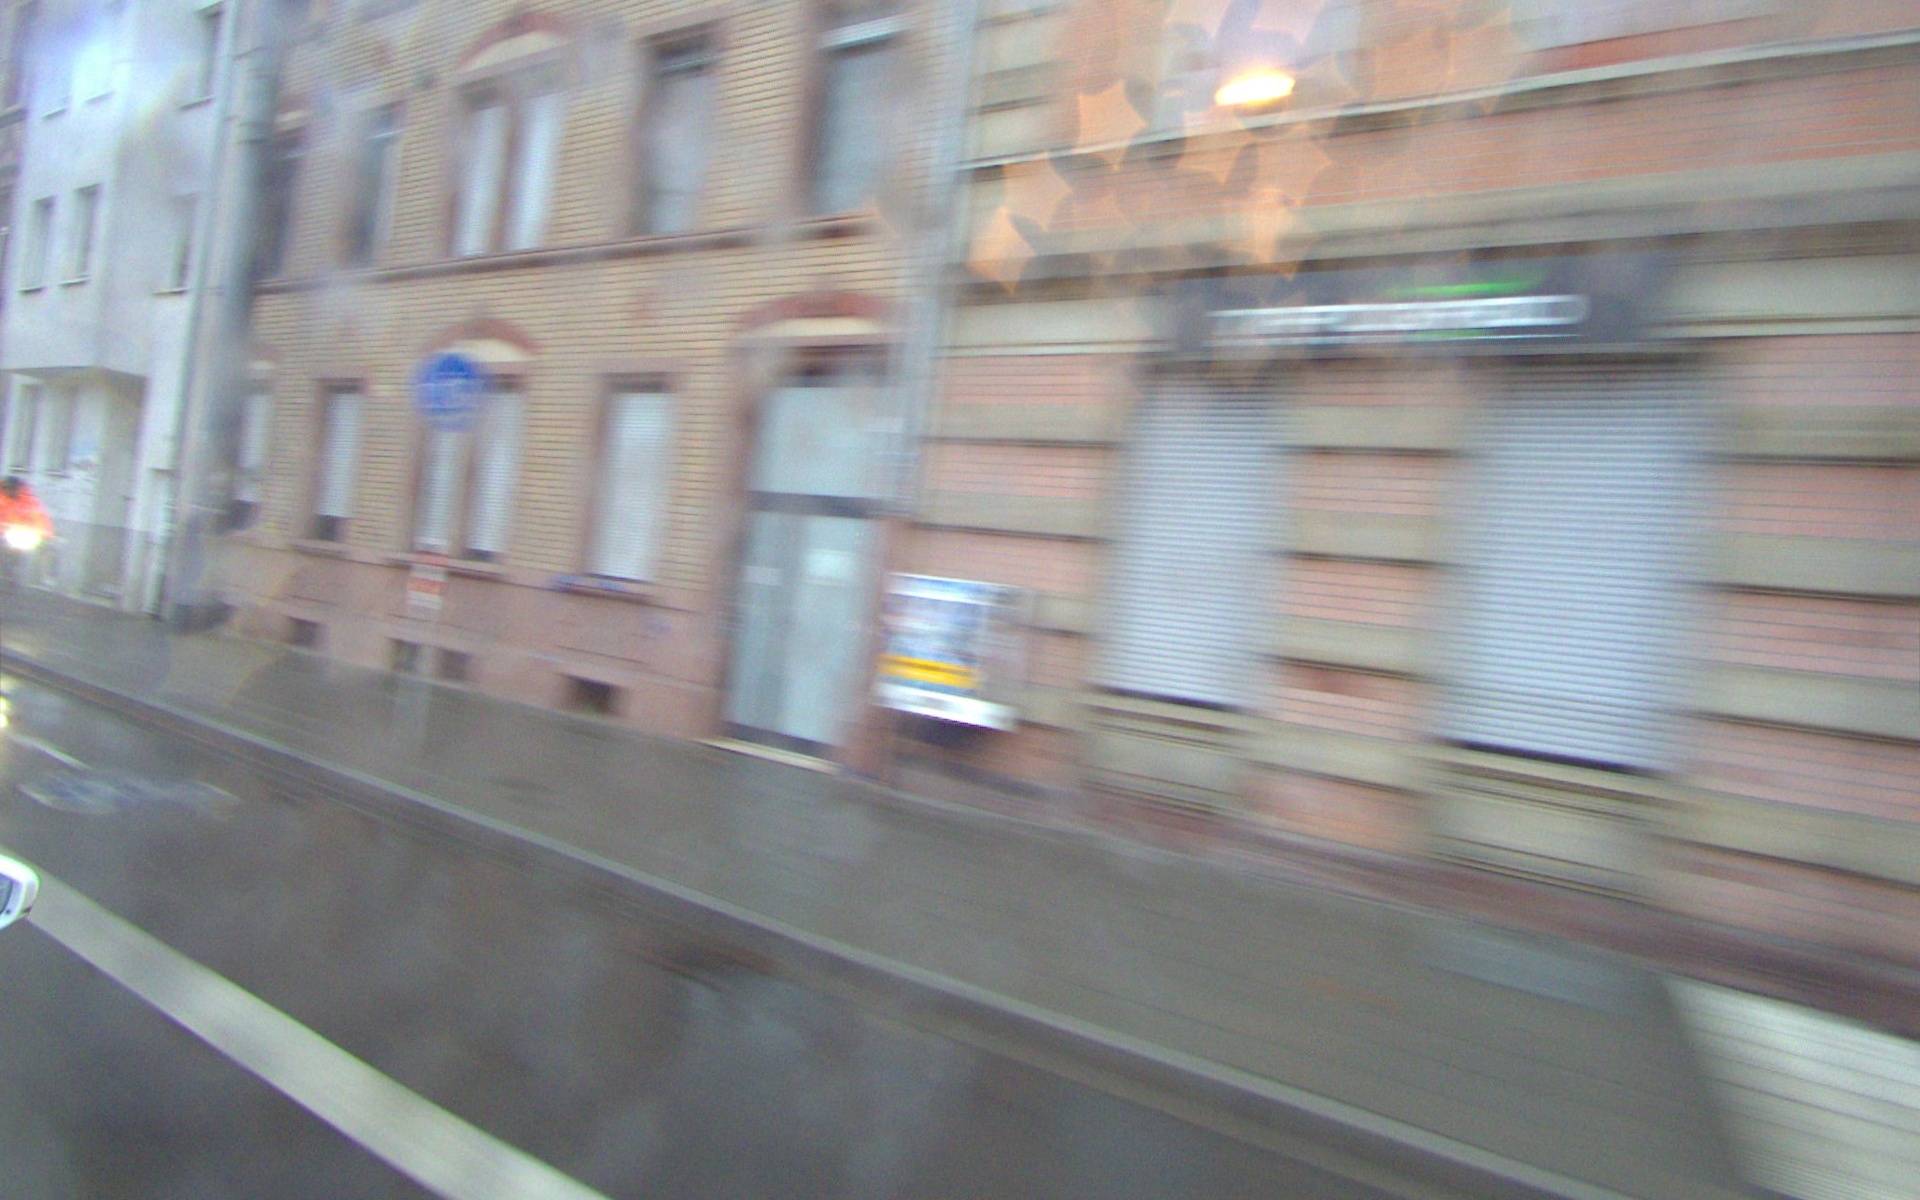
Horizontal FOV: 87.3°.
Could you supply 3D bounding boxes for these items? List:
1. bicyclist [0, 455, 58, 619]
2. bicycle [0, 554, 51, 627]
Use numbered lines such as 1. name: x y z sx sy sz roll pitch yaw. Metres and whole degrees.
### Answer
1. bicyclist: -11.762 -0.800 12.195 1.092 1.903 0.746 7 0 28
2. bicycle: -11.871 -0.168 12.216 1.829 0.770 0.609 6 -1 29
